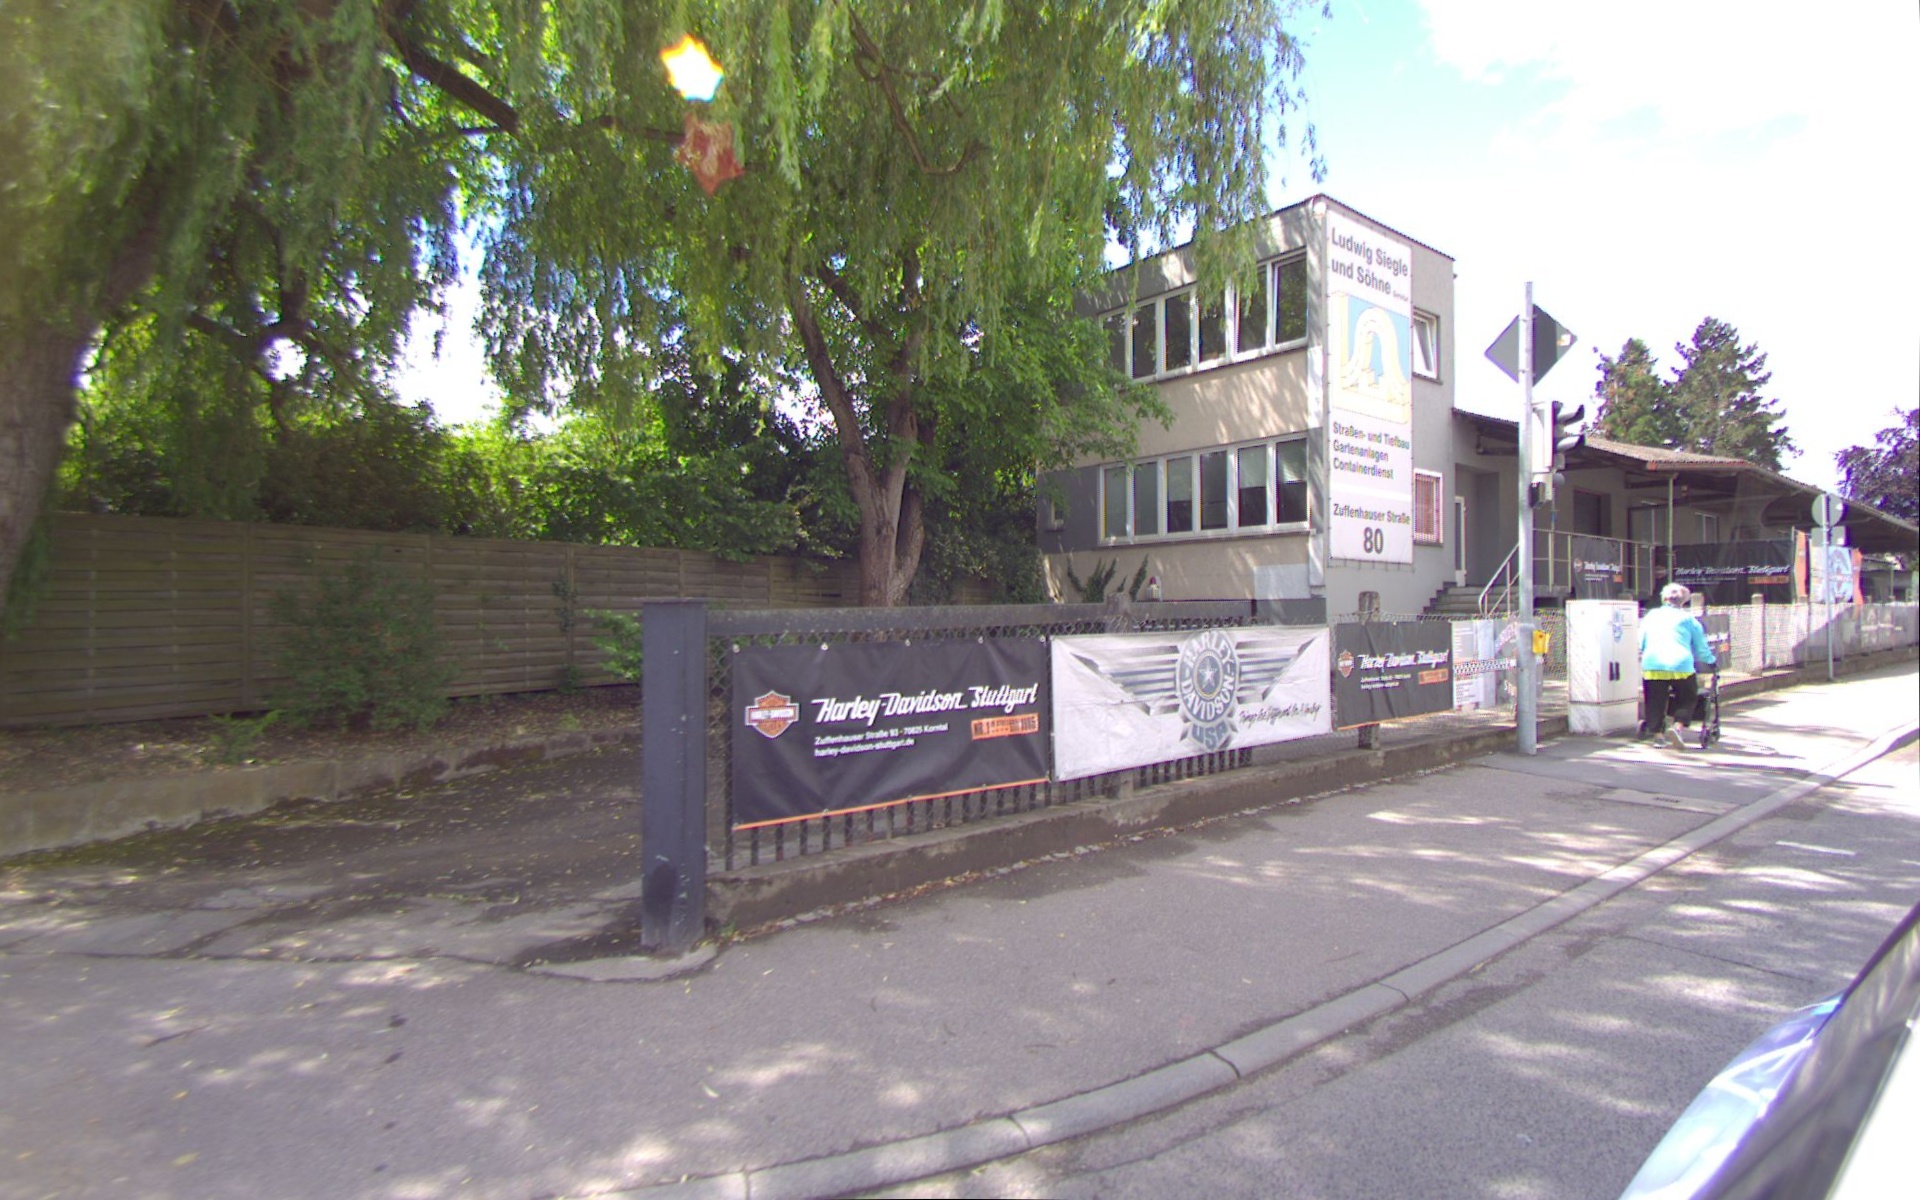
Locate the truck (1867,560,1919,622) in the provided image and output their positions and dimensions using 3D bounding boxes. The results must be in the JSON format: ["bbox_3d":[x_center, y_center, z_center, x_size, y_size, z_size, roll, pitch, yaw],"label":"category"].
[{"bbox_3d":[45.906,-0.433,48.970,5.108,2.865,2.091,-1,-1,-38],"label":"truck"}]

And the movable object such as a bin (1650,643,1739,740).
[{"bbox_3d":[7.333,0.889,10.098,0.667,0.883,0.738,-1,-1,39],"label":"movable object such as a bin"}]

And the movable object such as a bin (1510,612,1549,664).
[{"bbox_3d":[10.609,0.703,18.851,0.466,0.942,0.482,0,-1,-39],"label":"movable object such as a bin"}]

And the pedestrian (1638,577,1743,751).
[{"bbox_3d":[6.942,0.574,9.616,0.730,1.563,0.829,-2,-1,39],"label":"pedestrian"}]
